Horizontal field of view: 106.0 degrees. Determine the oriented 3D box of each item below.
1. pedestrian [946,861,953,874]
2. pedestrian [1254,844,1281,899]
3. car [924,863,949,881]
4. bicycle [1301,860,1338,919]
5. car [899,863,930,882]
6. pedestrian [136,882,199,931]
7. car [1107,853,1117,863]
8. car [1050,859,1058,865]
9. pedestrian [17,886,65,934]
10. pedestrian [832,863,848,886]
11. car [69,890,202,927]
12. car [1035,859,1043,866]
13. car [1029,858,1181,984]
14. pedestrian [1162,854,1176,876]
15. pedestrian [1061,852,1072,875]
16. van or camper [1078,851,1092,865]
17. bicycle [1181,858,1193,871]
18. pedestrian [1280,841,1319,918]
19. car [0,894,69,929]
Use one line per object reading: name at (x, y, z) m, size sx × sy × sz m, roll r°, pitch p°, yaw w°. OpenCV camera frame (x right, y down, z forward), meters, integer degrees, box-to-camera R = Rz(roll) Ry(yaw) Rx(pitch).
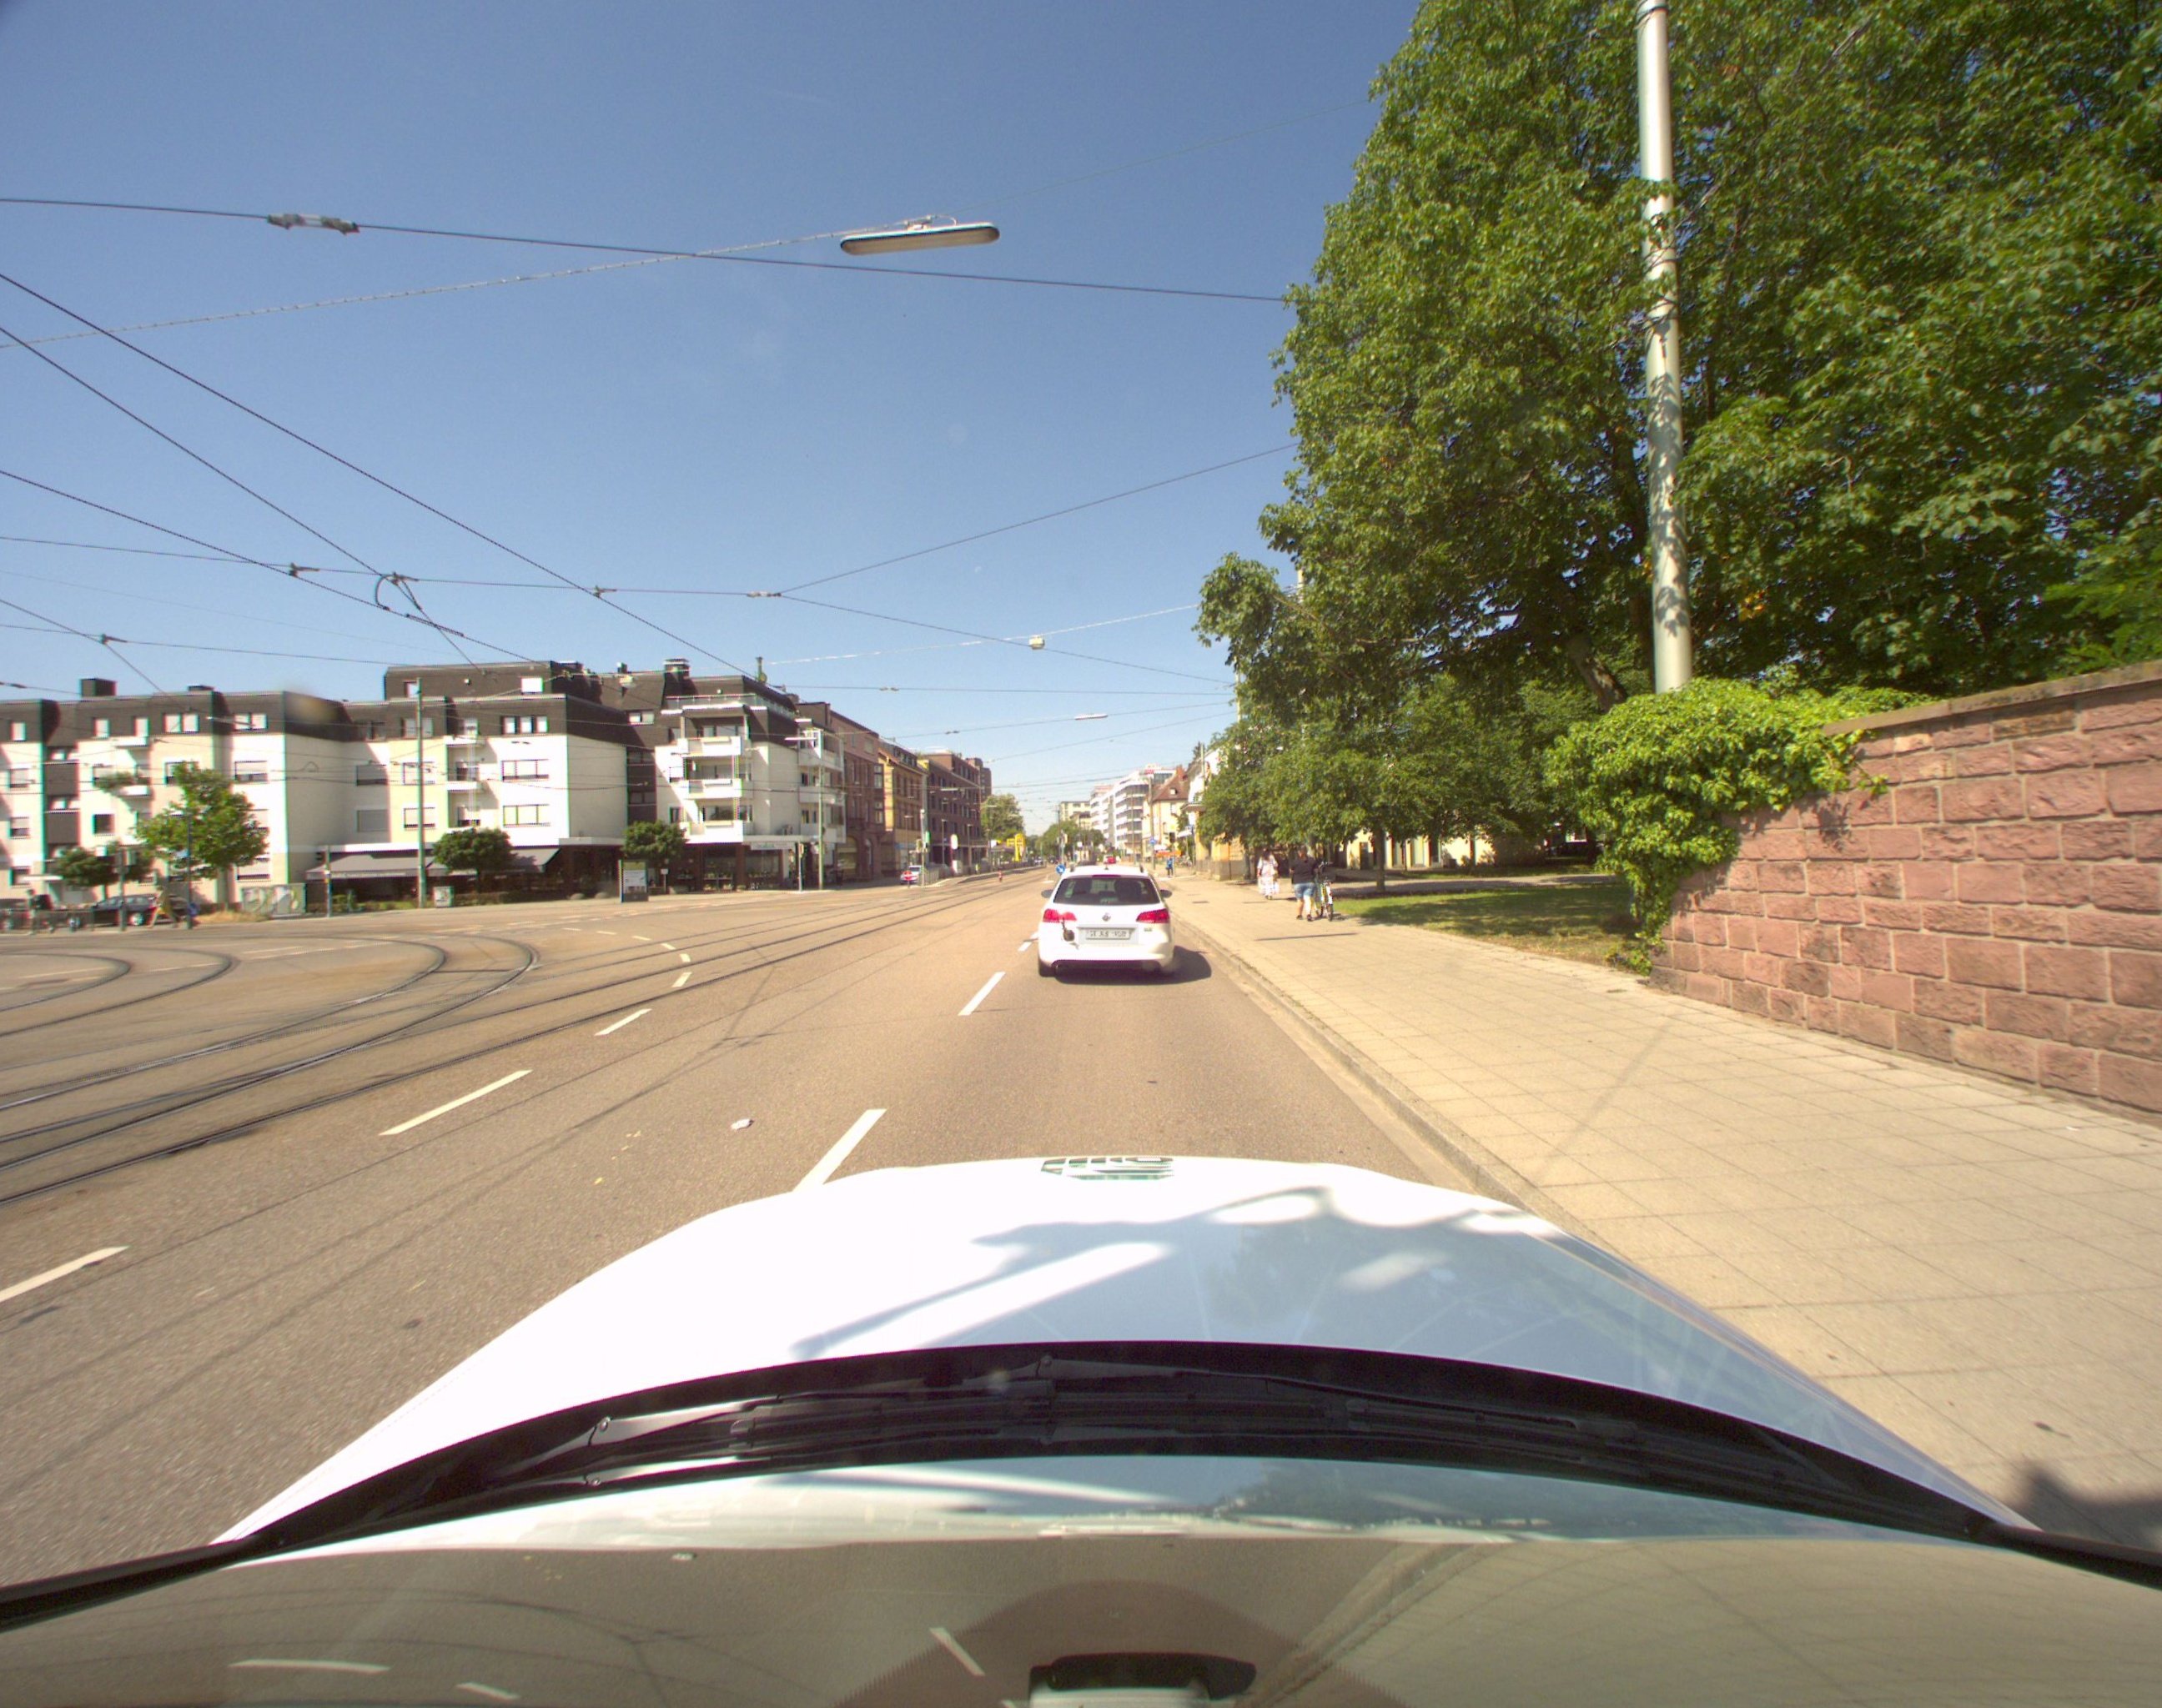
pedestrian at (-17.531, 1.793, 108.437) m, size 0.722 × 1.791 × 0.965 m, roll -1°, pitch 0°, yaw 2°
pedestrian at (5.901, 0.535, 25.735) m, size 0.647 × 1.682 × 0.707 m, roll -2°, pitch 0°, yaw 1°
car at (-12.862, 1.624, 72.866) m, size 1.568 × 1.459 × 3.812 m, roll -2°, pitch 0°, yaw -1°
bicycle at (4.878, 0.696, 16.734) m, size 0.532 × 1.111 × 1.812 m, roll -3°, pitch -1°, yaw 12°
car at (-13.299, 1.466, 65.144) m, size 1.620 × 1.431 × 3.963 m, roll -1°, pitch 0°, yaw 1°
pedestrian at (-36.717, 2.087, 32.750) m, size 1.446 × 1.836 × 1.110 m, roll -2°, pitch 0°, yaw -37°
car at (6.709, 0.807, 176.587) m, size 1.989 × 2.013 × 3.997 m, roll -2°, pitch 0°, yaw -2°
car at (-6.695, 1.905, 201.579) m, size 1.661 × 1.466 × 3.775 m, roll -2°, pitch 0°, yaw 2°
pedestrian at (-39.782, 2.128, 31.166) m, size 0.807 × 1.760 × 0.763 m, roll -2°, pitch 0°, yaw -2°
pedestrian at (-17.928, 1.546, 60.627) m, size 0.870 × 1.647 × 0.685 m, roll -2°, pitch 0°, yaw 29°
car at (-44.839, 2.575, 38.689) m, size 4.157 × 1.500 × 1.829 m, roll -2°, pitch 0°, yaw 1°
car at (-10.012, 1.994, 194.630) m, size 1.661 × 1.466 × 3.775 m, roll -2°, pitch 0°, yaw 2°
car at (0.365, 0.800, 11.554) m, size 1.746 × 1.418 × 3.855 m, roll -2°, pitch 0°, yaw 2°
pedestrian at (6.029, 0.760, 55.961) m, size 0.853 × 1.510 × 0.782 m, roll -2°, pitch 0°, yaw 1°
pedestrian at (-1.166, 0.780, 65.847) m, size 0.823 × 1.809 × 0.834 m, roll -2°, pitch 0°, yaw 3°
van or camper at (0.887, 0.875, 184.262) m, size 2.933 × 3.180 × 6.614 m, roll -2°, pitch 0°, yaw 1°
bicycle at (9.706, 0.956, 74.446) m, size 0.720 × 1.139 × 2.203 m, roll -2°, pitch 0°, yaw 15°
pedestrian at (4.583, 0.523, 17.111) m, size 0.538 × 1.549 × 0.663 m, roll -4°, pitch 0°, yaw 1°
car at (-51.104, 2.770, 38.611) m, size 3.972 × 1.500 × 1.829 m, roll -2°, pitch 0°, yaw 1°
